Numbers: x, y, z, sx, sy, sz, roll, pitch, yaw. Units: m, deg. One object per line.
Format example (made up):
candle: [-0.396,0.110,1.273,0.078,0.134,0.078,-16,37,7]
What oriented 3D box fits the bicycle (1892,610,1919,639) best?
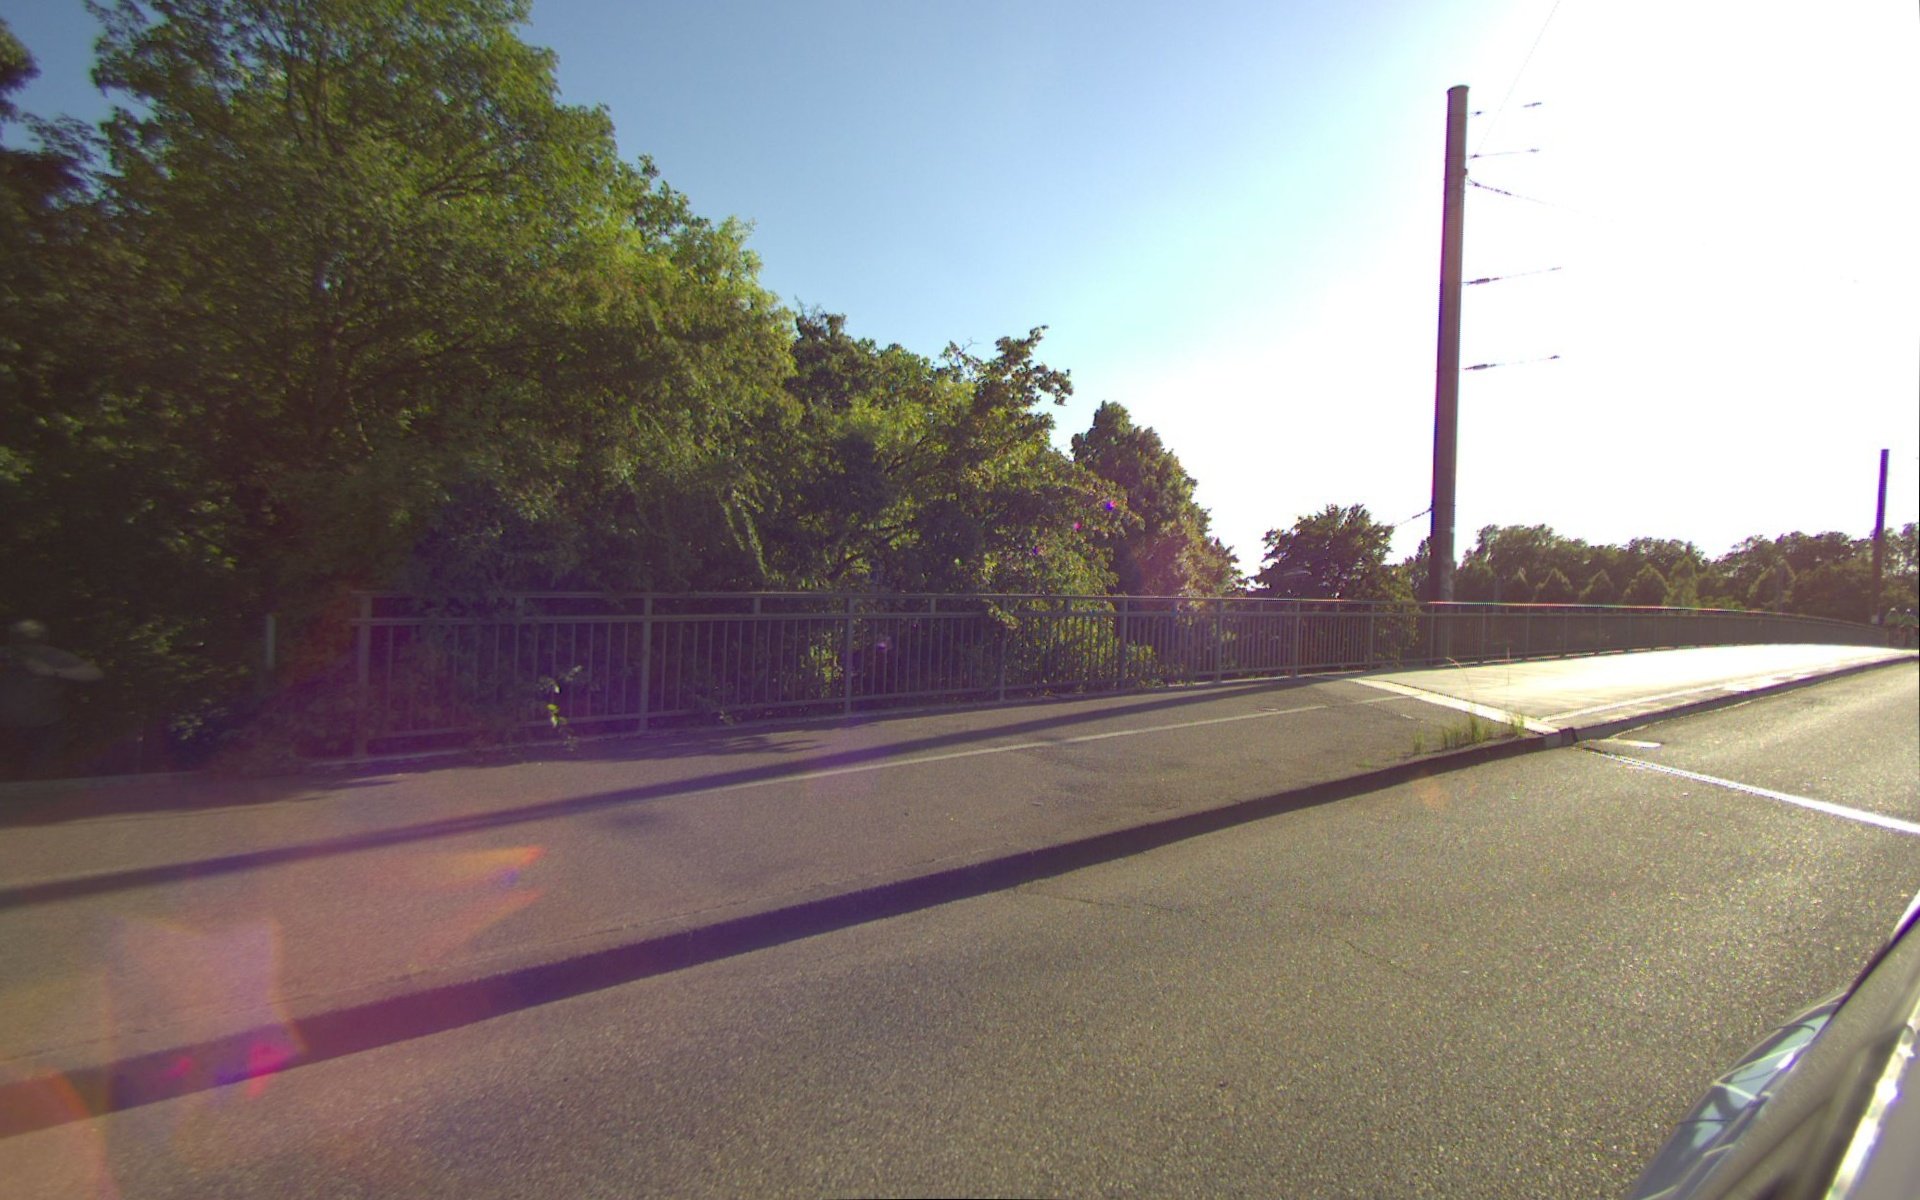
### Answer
bicycle: [39.417,1.042,42.100,2.218,1.137,0.626,3,-2,-39]

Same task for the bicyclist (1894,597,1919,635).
bicyclist: [39.394,0.670,42.090,0.987,1.527,0.626,3,-2,-39]

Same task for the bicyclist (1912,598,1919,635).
bicyclist: [42.594,0.738,44.740,0.914,1.613,0.626,3,-1,-41]

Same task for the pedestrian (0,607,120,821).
pedestrian: [-6.592,0.773,7.188,0.790,1.413,0.815,1,1,-27]

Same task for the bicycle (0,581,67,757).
bicycle: [-6.765,0.456,6.841,0.614,1.136,2.045,1,1,-28]

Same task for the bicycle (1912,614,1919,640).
bicycle: [42.614,1.207,44.713,2.006,1.137,0.626,3,-1,-41]
